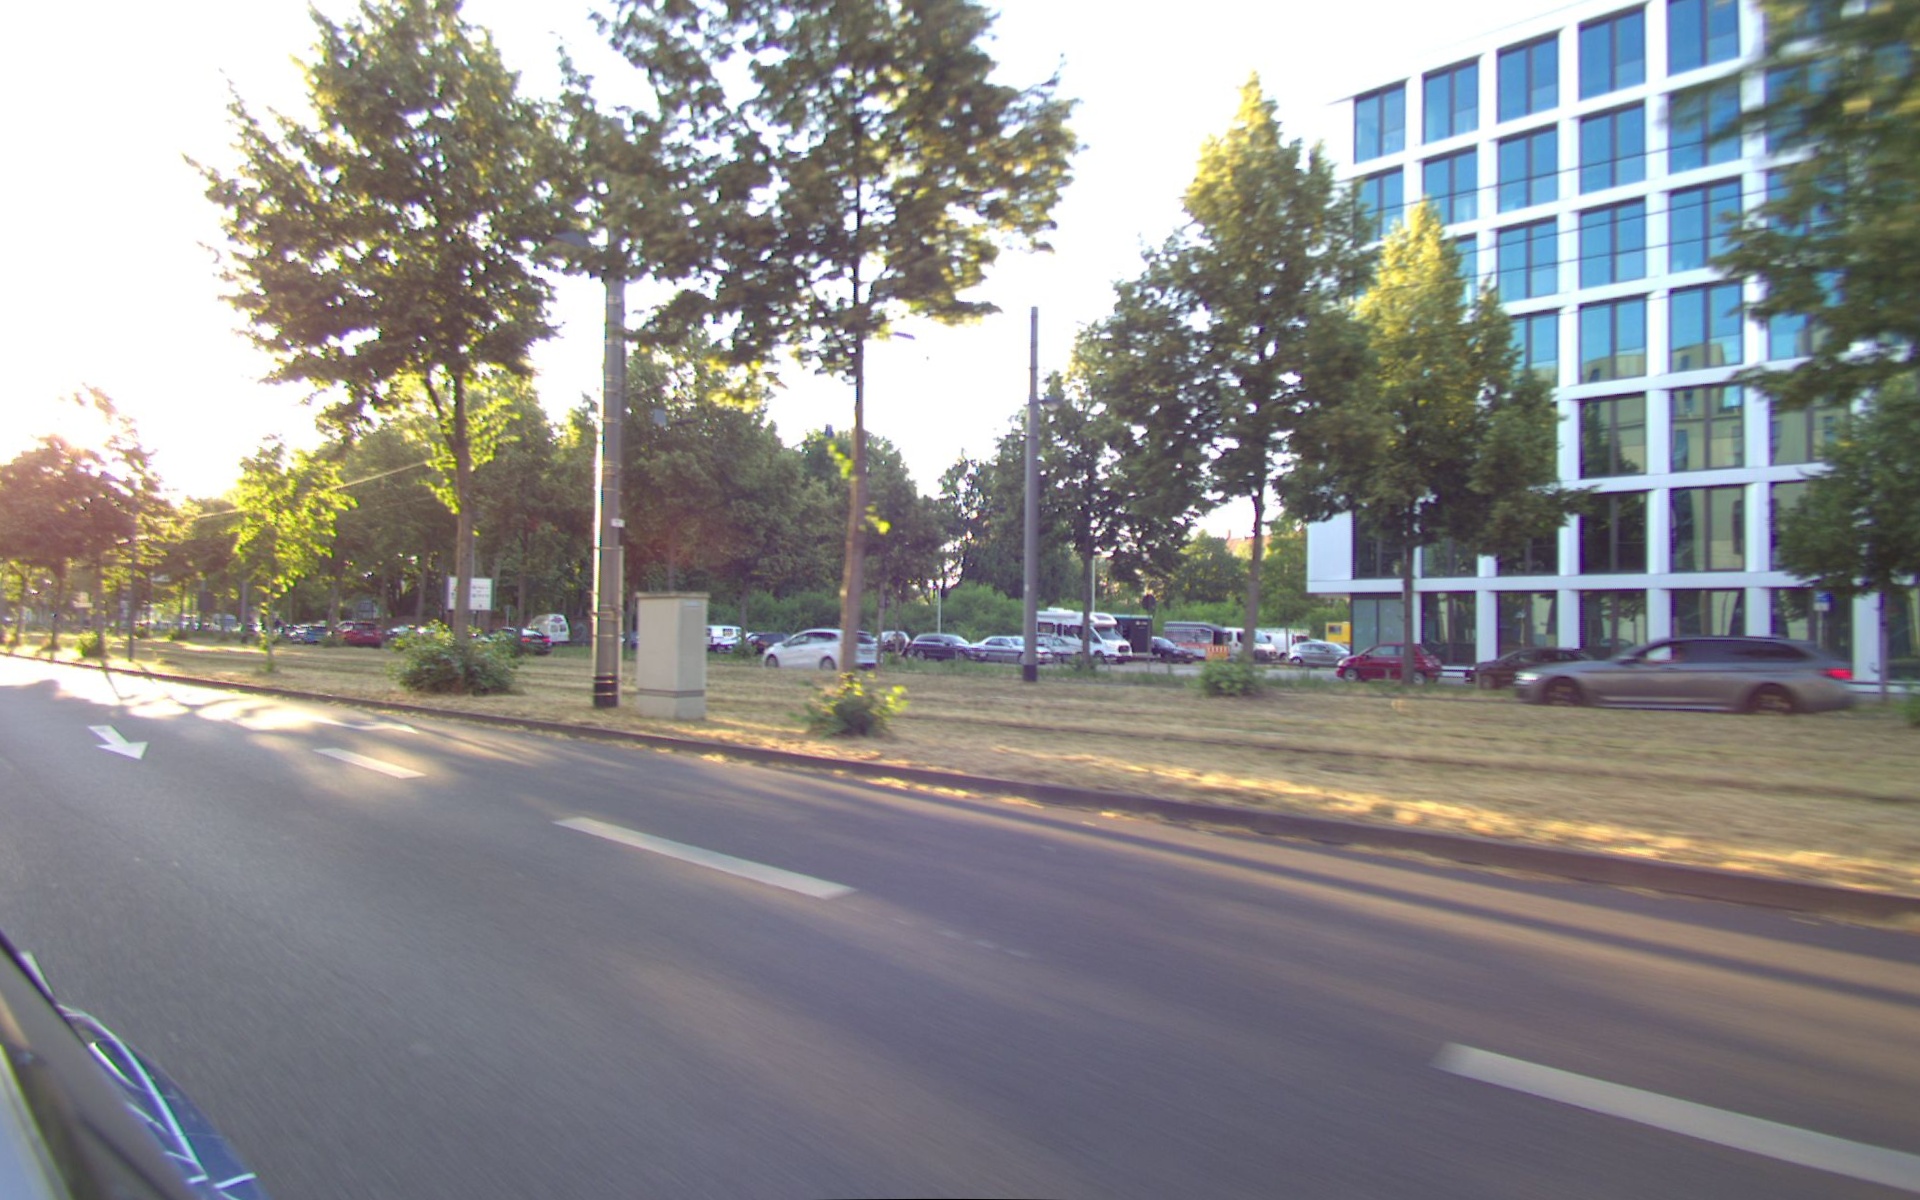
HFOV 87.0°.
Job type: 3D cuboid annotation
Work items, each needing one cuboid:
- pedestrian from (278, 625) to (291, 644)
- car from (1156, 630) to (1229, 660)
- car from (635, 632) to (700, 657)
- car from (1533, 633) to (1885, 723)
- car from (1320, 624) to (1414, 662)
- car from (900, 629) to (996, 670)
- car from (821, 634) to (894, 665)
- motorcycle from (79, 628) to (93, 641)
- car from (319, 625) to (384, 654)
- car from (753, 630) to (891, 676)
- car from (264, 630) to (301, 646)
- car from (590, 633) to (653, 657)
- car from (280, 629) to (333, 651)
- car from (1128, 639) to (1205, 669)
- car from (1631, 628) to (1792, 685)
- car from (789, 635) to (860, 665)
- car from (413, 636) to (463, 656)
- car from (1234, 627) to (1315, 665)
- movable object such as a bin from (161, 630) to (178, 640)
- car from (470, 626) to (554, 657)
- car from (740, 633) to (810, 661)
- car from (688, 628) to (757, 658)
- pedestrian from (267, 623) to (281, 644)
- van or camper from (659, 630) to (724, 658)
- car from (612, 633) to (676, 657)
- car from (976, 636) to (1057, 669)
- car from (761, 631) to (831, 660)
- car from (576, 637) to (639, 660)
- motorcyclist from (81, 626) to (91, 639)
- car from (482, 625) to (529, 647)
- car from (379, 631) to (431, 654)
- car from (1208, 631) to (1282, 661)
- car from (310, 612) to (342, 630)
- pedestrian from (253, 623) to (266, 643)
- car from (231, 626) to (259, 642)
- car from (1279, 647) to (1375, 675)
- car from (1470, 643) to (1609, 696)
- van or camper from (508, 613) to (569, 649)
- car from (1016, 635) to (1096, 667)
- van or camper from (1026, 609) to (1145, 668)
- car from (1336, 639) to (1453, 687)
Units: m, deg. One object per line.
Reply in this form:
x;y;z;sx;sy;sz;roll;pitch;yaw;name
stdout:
-61.416;3.120;92.002;0.863;1.772;0.687;-1;-3;32;pedestrian
14.327;2.742;62.417;4.000;1.825;1.895;-2;-3;43;car
-20.253;3.084;70.178;1.918;1.652;3.951;-1;-3;36;car
12.820;1.271;17.647;4.736;1.342;1.641;-1;-3;39;car
28.916;3.012;72.058;1.967;2.616;6.105;2;-3;-36;car
-0.664;2.546;53.010;4.927;2.029;1.974;-1;-3;39;car
-5.745;2.774;57.021;1.918;1.652;3.951;-1;-3;36;car
-93.957;3.703;108.756;2.343;1.347;0.675;-1;-3;39;motorcycle
-35.229;2.286;58.552;4.177;1.590;1.867;-1;-3;38;car
-4.415;1.636;31.952;4.524;1.342;1.641;-1;-3;39;car
-65.632;3.674;97.983;4.304;1.511;1.880;-1;-3;41;car
-24.475;3.265;73.261;1.921;1.652;3.945;-2;-3;41;car
-46.294;2.824;71.672;4.283;1.519;1.899;-1;-3;40;car
11.978;3.103;58.811;4.001;1.652;1.894;-2;-3;44;car
22.615;1.650;30.511;3.782;1.594;1.841;-1;-2;41;car
-7.806;2.874;58.665;1.918;1.652;3.951;-1;-3;36;car
-40.118;3.498;77.771;3.996;1.497;1.974;-1;-3;39;car
20.036;2.932;64.612;2.073;2.325;4.514;2;-3;-38;car
-108.421;4.774;138.825;1.723;1.383;1.536;-2;-3;41;movable object such as a bin
-20.622;1.899;46.551;4.468;1.342;1.641;-1;-3;39;car
-11.223;2.852;61.619;1.918;1.652;3.951;-1;-3;36;car
-15.492;2.792;66.179;2.011;1.858;3.946;-1;-3;40;car
-61.598;3.043;90.851;0.863;1.884;0.687;-1;-3;32;pedestrian
-17.979;2.942;67.839;1.992;1.805;3.959;-1;-3;29;van or camper
-22.172;3.133;71.095;1.918;1.652;3.951;-1;-3;36;car
2.972;2.727;53.261;4.001;1.652;1.894;-2;-3;44;car
-9.708;2.712;60.152;1.918;1.652;3.951;-1;-3;36;car
-25.987;3.533;74.719;1.922;1.652;3.944;-2;-3;42;car
-94.028;3.509;108.838;0.804;1.386;0.674;-1;-3;39;motorcyclist
-37.796;3.012;84.191;3.996;1.763;1.974;-1;-3;39;car
-44.427;3.369;80.970;4.786;1.763;1.974;-1;-3;39;car
17.600;2.829;62.640;4.000;1.825;1.895;-2;-3;43;car
-75.922;2.556;121.209;5.059;2.029;1.971;-2;-3;43;car
-62.961;2.988;90.909;0.865;1.756;0.686;-1;-3;38;pedestrian
-77.637;3.666;109.911;1.970;1.652;4.004;2;-3;-43;car
18.356;3.050;50.754;1.716;1.270;4.260;2;-3;-37;car
18.970;2.234;33.182;3.663;1.594;1.841;-1;-2;41;car
-33.654;2.465;80.659;5.488;2.756;2.064;-1;-3;39;van or camper
5.181;2.719;54.692;4.001;1.652;1.894;-2;-3;44;car
6.951;2.126;56.501;6.263;3.109;2.680;-2;-3;44;van or camper
15.570;2.215;36.314;3.490;1.594;1.841;-1;-2;41;car
